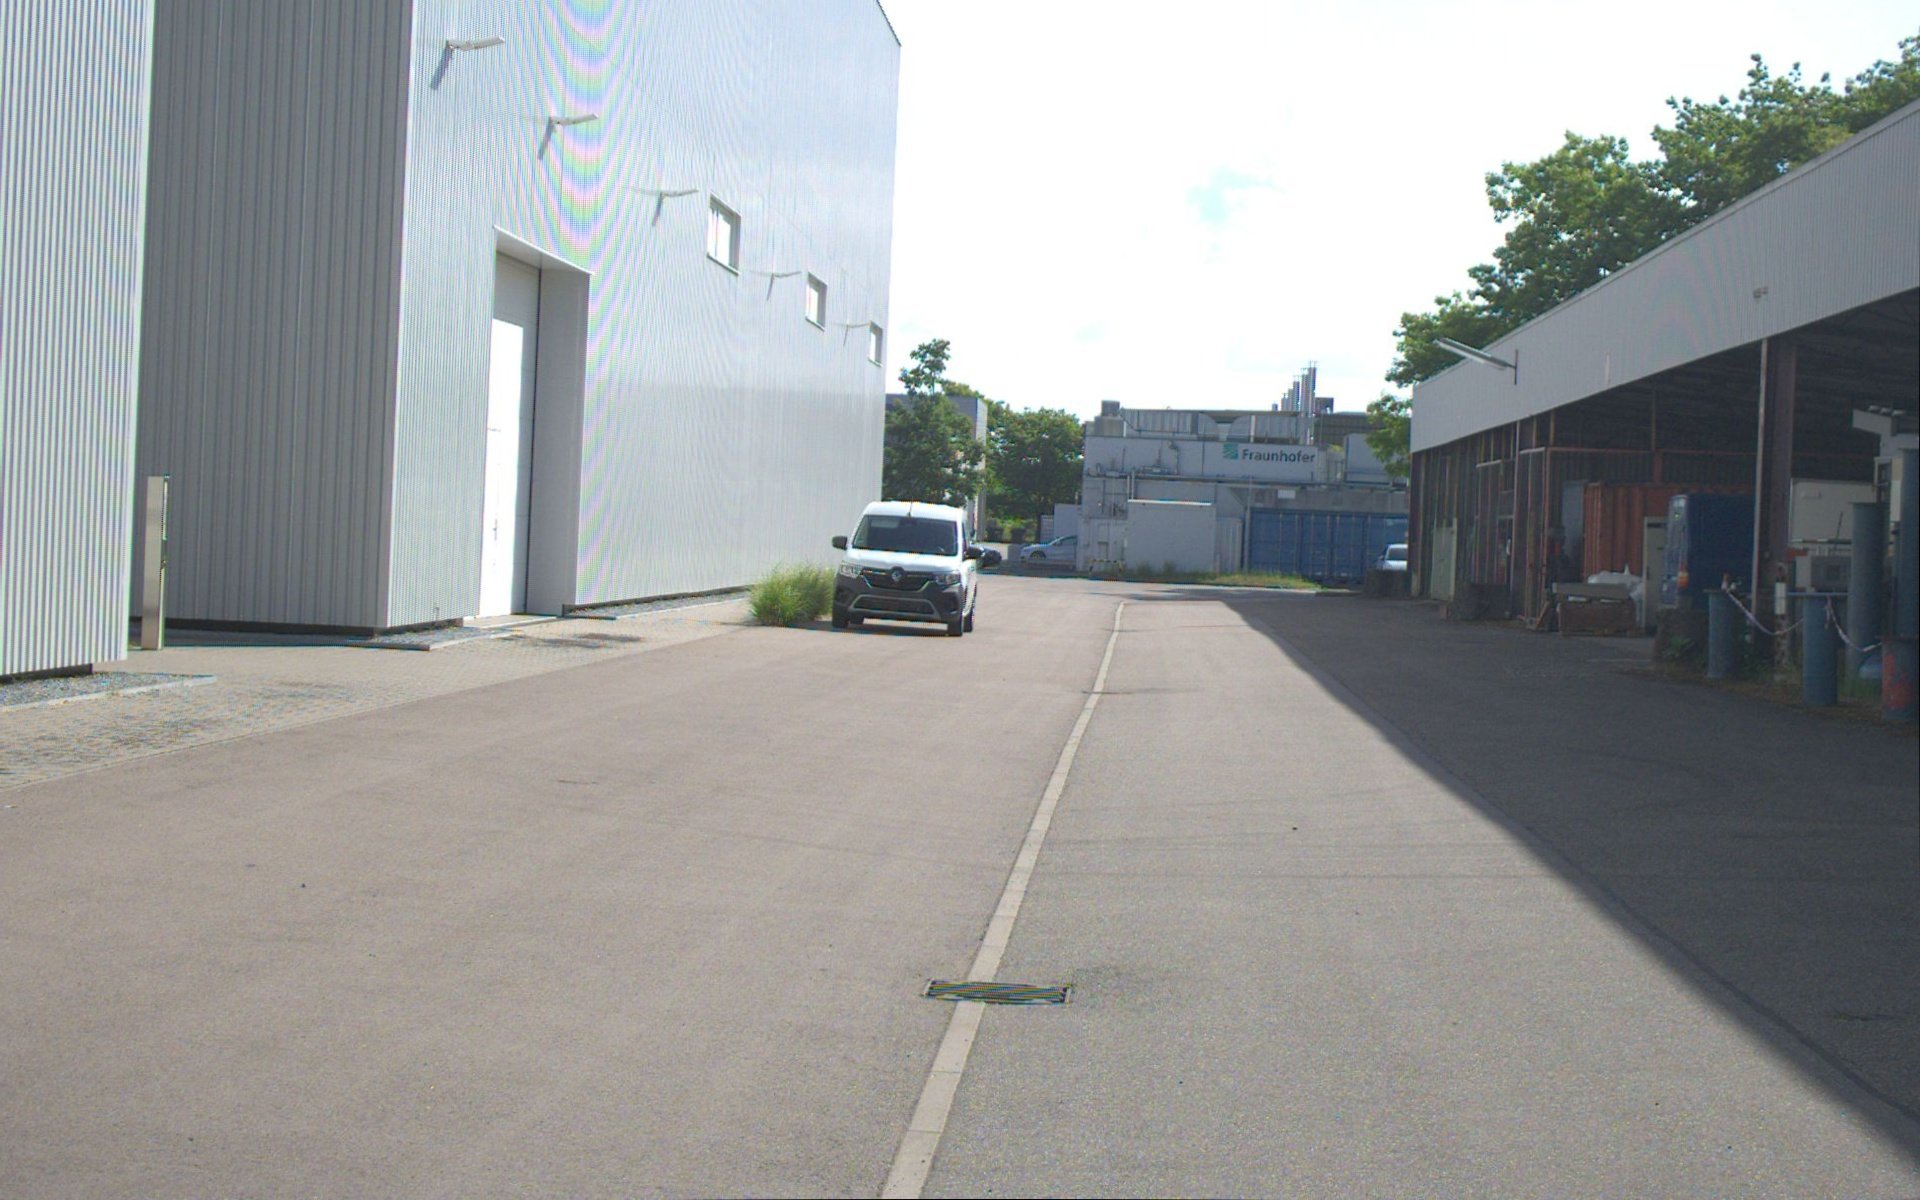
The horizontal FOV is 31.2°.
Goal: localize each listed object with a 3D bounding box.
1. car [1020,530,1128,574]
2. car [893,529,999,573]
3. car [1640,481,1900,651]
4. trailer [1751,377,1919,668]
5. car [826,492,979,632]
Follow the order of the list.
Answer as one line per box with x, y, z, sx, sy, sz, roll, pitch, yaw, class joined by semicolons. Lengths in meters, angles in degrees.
4.272;-1.798;129.072;3.885;1.457;1.623;3;1;6;car
-0.526;-1.865;130.202;3.885;1.457;1.623;3;1;2;car
12.391;-0.531;52.772;3.505;2.433;2.000;2;1;4;car
13.121;-0.836;41.564;6.389;3.359;2.825;2;1;2;trailer
-0.762;-0.547;48.222;1.908;1.787;4.000;3;1;1;car
